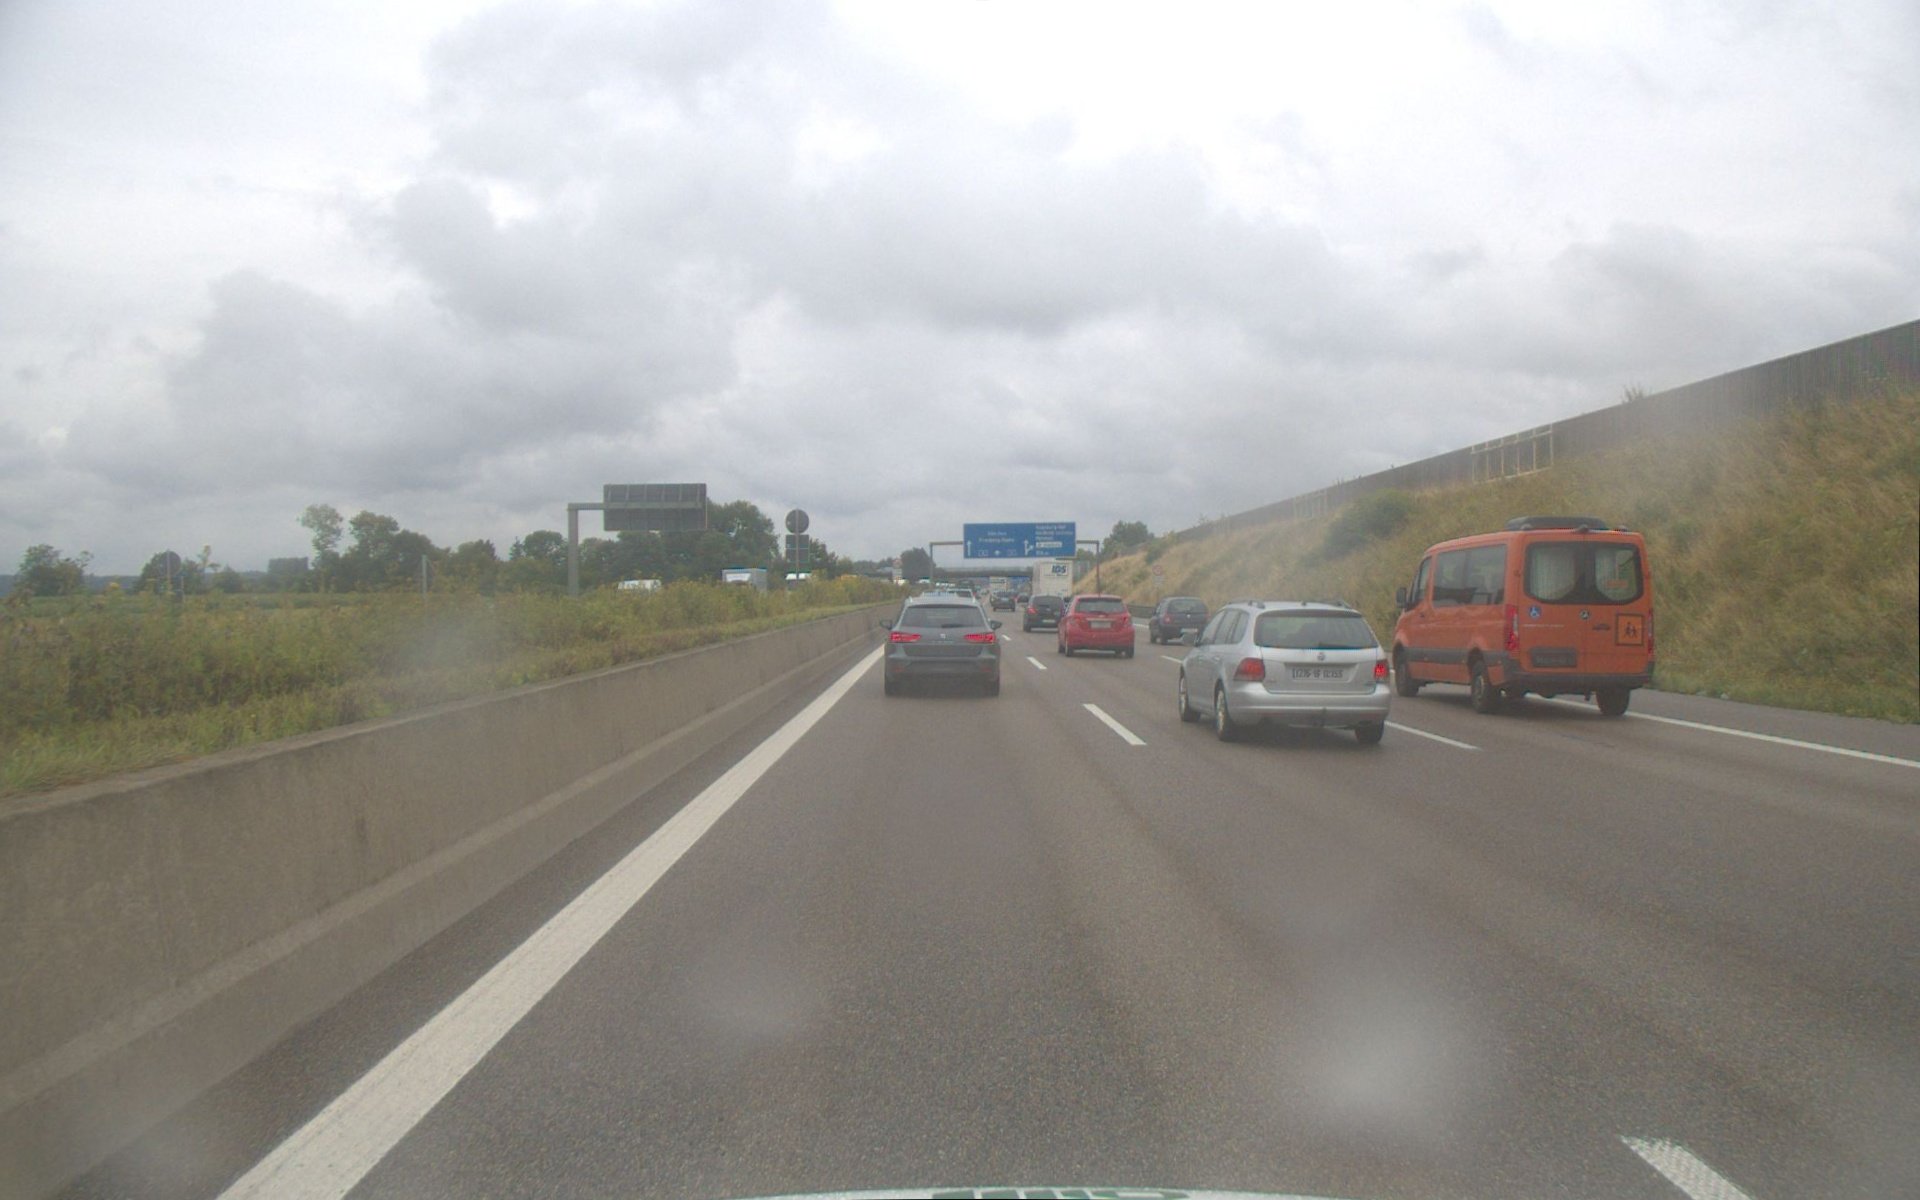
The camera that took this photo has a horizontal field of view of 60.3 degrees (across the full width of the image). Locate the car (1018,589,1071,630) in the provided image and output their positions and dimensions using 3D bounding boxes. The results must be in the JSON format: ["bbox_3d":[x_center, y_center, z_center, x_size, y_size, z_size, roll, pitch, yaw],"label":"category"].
[{"bbox_3d":[3.285,0.344,64.727,1.881,1.548,4.622,0,0,0],"label":"car"}]

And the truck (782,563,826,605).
[{"bbox_3d":[-15.561,-1.542,165.803,3.118,4.036,10.812,1,0,1],"label":"truck"}]

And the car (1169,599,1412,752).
[{"bbox_3d":[3.518,0.738,18.429,1.706,1.450,4.516,-1,0,-1],"label":"car"}]

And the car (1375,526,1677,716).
[{"bbox_3d":[7.785,0.235,23.557,2.043,2.355,6.179,0,0,-2],"label":"car"}]

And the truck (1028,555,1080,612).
[{"bbox_3d":[7.698,-1.270,138.549,3.216,4.370,19.032,1,0,0],"label":"truck"}]

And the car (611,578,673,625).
[{"bbox_3d":[-18.142,0.091,94.613,2.199,2.574,6.905,1,0,0],"label":"car"}]

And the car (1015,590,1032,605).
[{"bbox_3d":[8.534,-0.360,221.680,1.953,1.892,4.389,0,0,-2],"label":"car"}]

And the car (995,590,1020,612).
[{"bbox_3d":[3.713,0.067,129.880,1.808,1.716,3.999,1,0,-1],"label":"car"}]

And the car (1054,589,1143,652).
[{"bbox_3d":[3.413,0.466,41.412,1.852,1.472,4.685,0,0,0],"label":"car"}]

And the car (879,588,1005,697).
[{"bbox_3d":[-0.266,0.601,25.197,1.732,1.493,3.999,1,0,0],"label":"car"}]

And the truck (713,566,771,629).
[{"bbox_3d":[-16.998,-0.177,129.545,3.159,4.731,9.674,1,0,0],"label":"truck"}]

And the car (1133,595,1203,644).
[{"bbox_3d":[6.383,0.589,51.073,1.667,1.426,3.875,1,0,1],"label":"car"}]

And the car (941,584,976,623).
[{"bbox_3d":[-0.094,0.168,82.481,1.670,1.828,3.854,-2,0,-1],"label":"car"}]

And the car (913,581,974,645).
[{"bbox_3d":[-0.462,0.378,49.490,1.718,1.780,4.000,1,0,0],"label":"car"}]

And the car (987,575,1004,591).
[{"bbox_3d":[4.583,-2.170,212.358,1.953,2.049,3.998,-1,0,-2],"label":"car"}]
